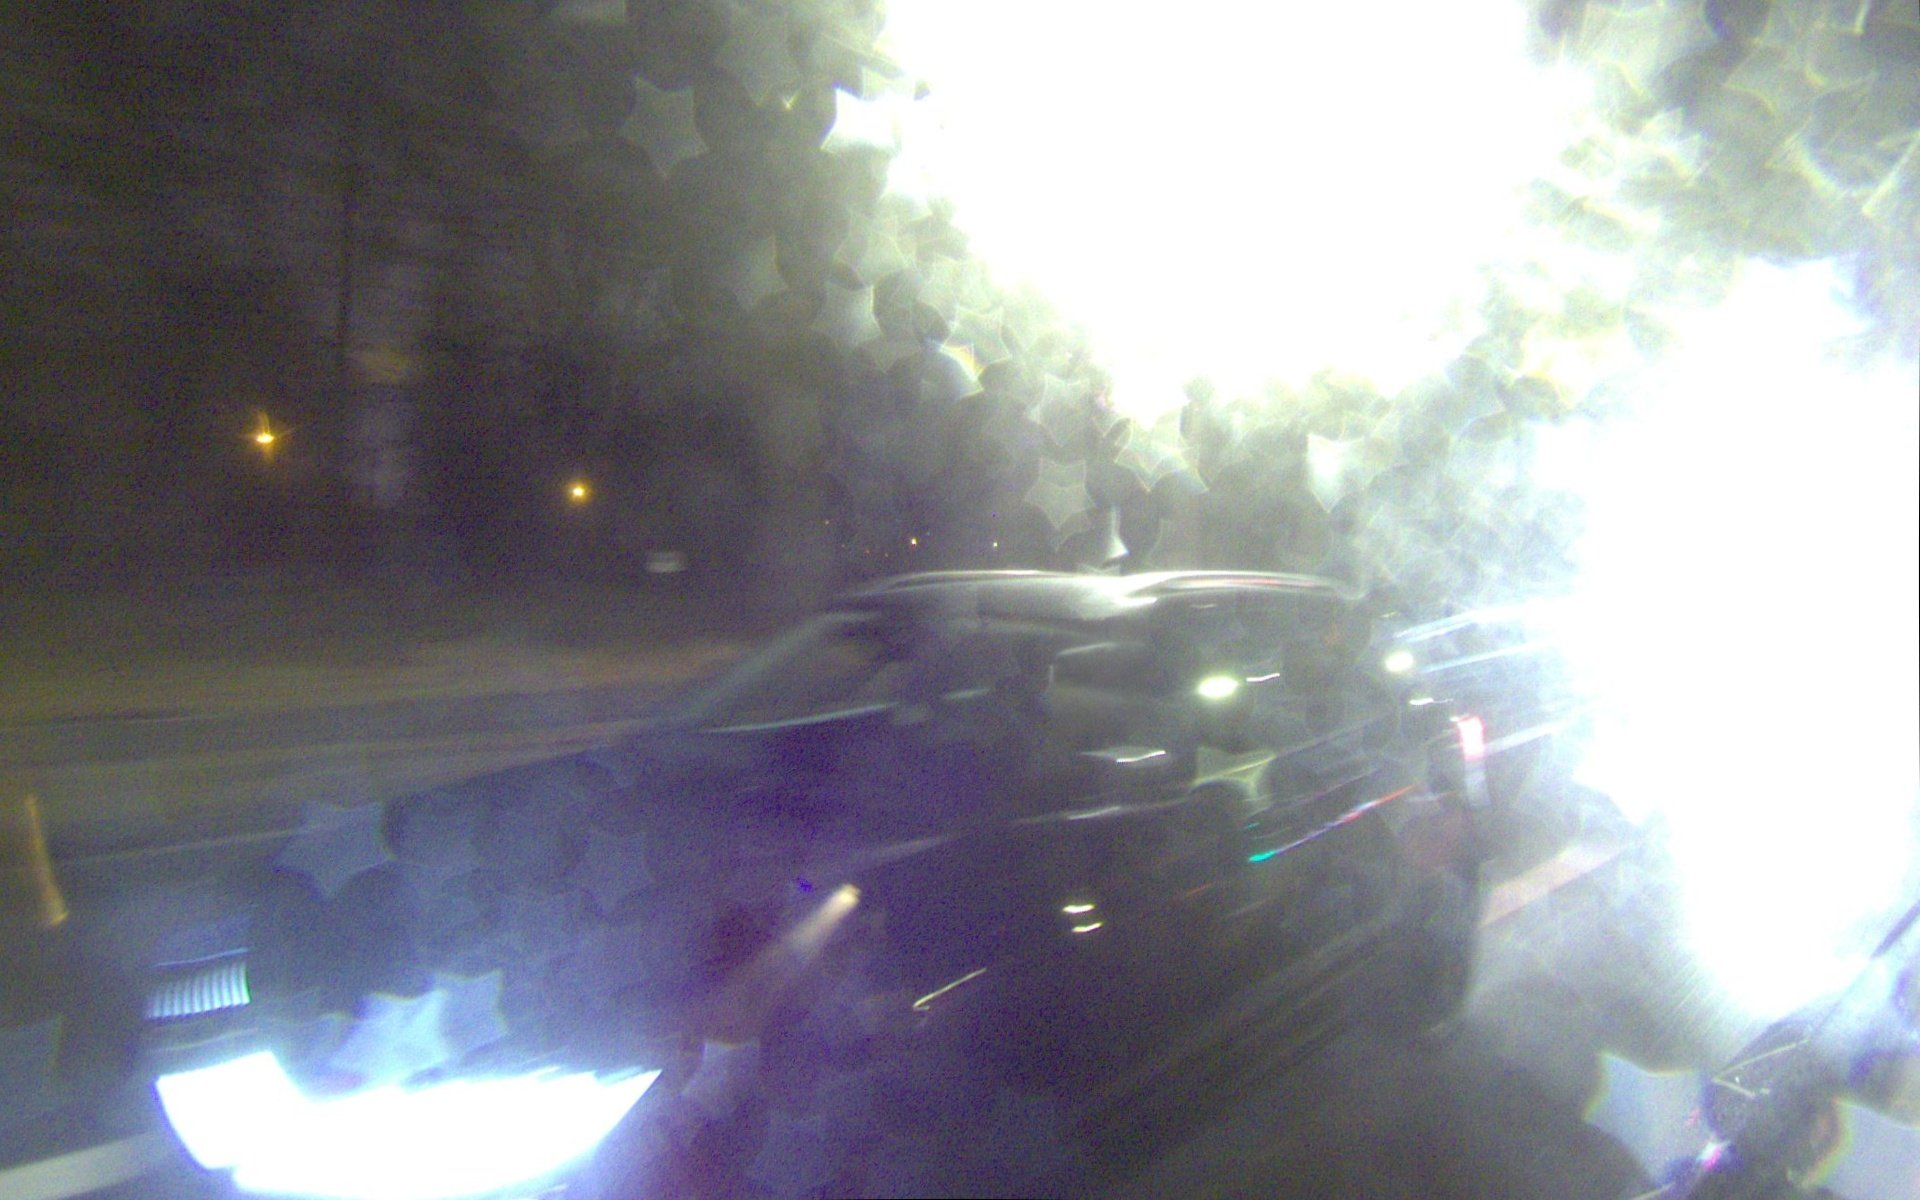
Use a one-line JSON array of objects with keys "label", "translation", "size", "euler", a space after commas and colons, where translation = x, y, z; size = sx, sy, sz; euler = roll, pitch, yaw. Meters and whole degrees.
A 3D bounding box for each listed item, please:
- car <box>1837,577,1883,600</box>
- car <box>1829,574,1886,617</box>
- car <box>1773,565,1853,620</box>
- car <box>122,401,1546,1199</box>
[{"label": "car", "translation": [65.895, -0.850, 74.160], "size": [1.819, 1.521, 4.140], "euler": [4, 4, 33]}, {"label": "car", "translation": [46.673, -0.213, 52.699], "size": [1.994, 1.957, 3.940], "euler": [7, 4, 41]}, {"label": "car", "translation": [31.034, -0.288, 36.788], "size": [1.932, 1.896, 3.936], "euler": [2, 2, 44]}, {"label": "car", "translation": [0.127, 0.569, 3.067], "size": [1.994, 1.543, 3.937], "euler": [0, 0, 44]}]
